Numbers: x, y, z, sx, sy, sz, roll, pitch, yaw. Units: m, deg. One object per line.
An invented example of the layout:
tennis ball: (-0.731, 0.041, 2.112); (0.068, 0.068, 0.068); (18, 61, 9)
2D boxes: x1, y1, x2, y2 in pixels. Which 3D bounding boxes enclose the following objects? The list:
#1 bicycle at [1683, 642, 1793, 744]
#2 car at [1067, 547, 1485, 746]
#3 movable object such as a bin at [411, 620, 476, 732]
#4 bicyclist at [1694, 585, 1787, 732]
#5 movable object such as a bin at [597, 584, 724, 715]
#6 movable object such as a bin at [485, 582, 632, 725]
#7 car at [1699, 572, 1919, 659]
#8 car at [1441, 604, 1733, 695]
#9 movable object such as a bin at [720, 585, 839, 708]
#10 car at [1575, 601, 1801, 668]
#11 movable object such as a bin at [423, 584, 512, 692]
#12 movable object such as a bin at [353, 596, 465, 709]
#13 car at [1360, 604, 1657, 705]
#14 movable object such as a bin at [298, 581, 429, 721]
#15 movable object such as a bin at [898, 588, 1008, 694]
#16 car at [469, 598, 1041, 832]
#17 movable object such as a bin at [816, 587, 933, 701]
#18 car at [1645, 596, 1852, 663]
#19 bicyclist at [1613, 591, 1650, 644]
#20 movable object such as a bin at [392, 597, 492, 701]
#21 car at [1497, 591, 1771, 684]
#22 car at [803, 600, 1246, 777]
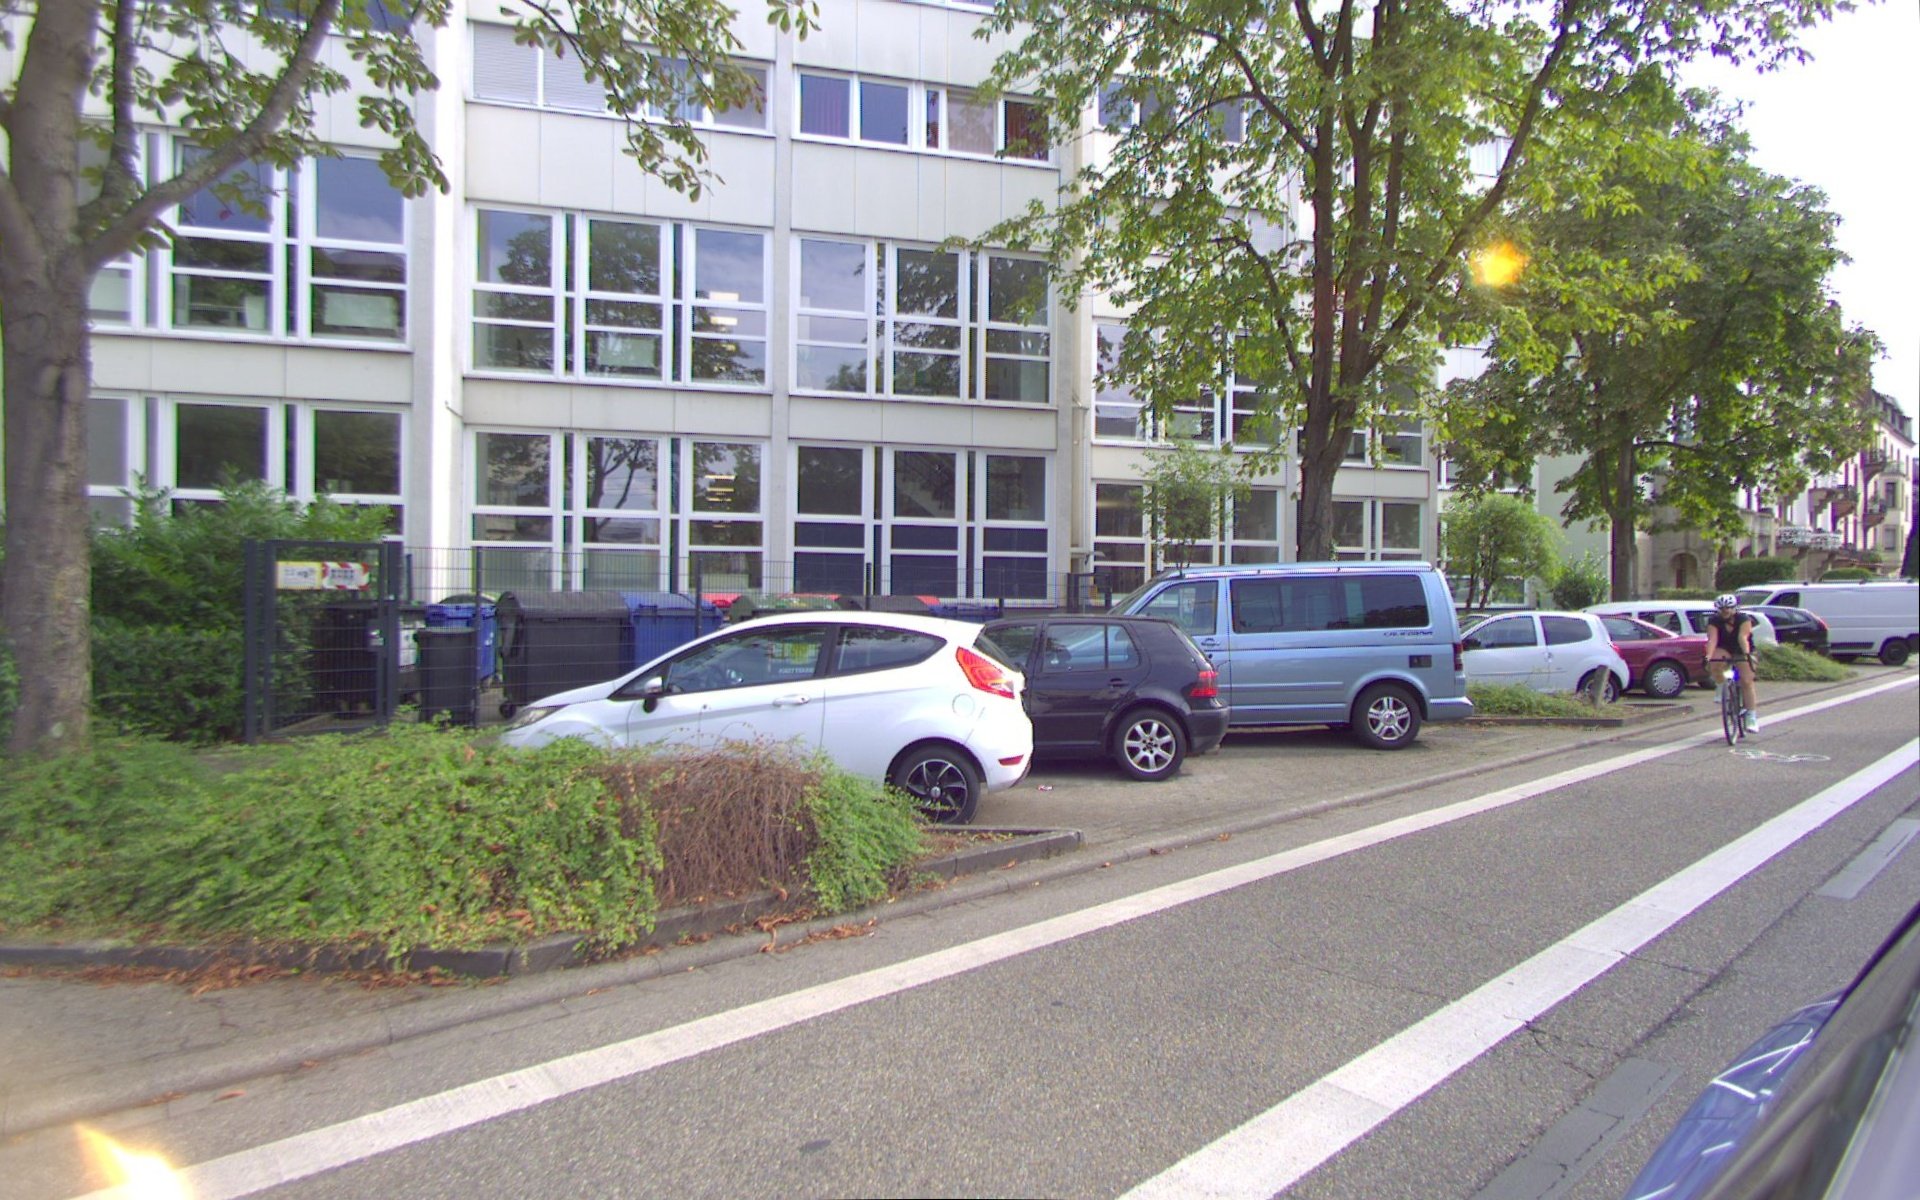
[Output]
bicycle: (8.917, 1.015, 11.568); (2.036, 0.993, 0.639); (0, 1, -43)
car: (3.350, 0.477, 11.477); (4.201, 2.040, 1.829); (0, 0, 6)
movable object such as a bin: (-5.405, 0.772, 10.587); (0.561, 1.117, 0.653); (0, -1, -31)
bicyclist: (8.918, 0.633, 11.560); (1.091, 1.590, 0.639); (1, 1, -42)
movable object such as a bin: (-3.713, 0.580, 12.551); (1.192, 1.527, 1.071); (1, -1, -39)
movable object such as a bin: (-4.604, 0.574, 11.608); (1.310, 1.527, 1.071); (1, -1, -39)
car: (24.068, 0.421, 28.314); (4.875, 2.319, 2.380); (0, 0, 8)
car: (10.706, 0.811, 17.543); (3.909, 1.451, 1.685); (0, 0, 8)
movable object such as a bin: (-2.390, 0.586, 13.427); (1.192, 1.527, 1.071); (1, -1, -39)
car: (17.215, 0.794, 24.090); (4.020, 1.530, 1.687); (0, 0, 6)
movable object such as a bin: (-7.503, 0.565, 15.471); (1.056, 1.582, 1.037); (0, -1, -16)
movable object such as a bin: (-7.067, 0.645, 13.049); (1.056, 1.385, 1.037); (0, -1, -16)
car: (8.351, 0.799, 15.697); (3.651, 1.451, 1.687); (0, 0, 6)
movable object such as a bin: (-6.925, 0.562, 11.829); (1.056, 1.542, 1.121); (0, -1, -16)
movable object such as a bin: (-0.103, 0.598, 15.394); (1.299, 1.527, 1.071); (1, -1, -39)
car: (-1.322, 0.733, 7.373); (3.759, 1.478, 1.639); (0, 0, 4)
movable object such as a bin: (-1.215, 0.592, 14.416); (1.299, 1.527, 1.071); (1, -1, -39)
car: (20.266, 0.736, 26.153); (3.891, 1.669, 1.687); (0, 0, 6)
bicyclist: (19.796, 0.511, 29.824); (0.786, 1.488, 0.649); (1, 2, -40)
movable object such as a bin: (-7.207, 0.654, 14.145); (1.056, 1.385, 1.037); (0, -1, -16)
car: (12.815, 0.684, 19.453); (4.036, 1.689, 1.687); (0, 0, 5)
car: (0.563, 0.747, 9.455); (3.759, 1.478, 1.675); (0, 0, 4)
